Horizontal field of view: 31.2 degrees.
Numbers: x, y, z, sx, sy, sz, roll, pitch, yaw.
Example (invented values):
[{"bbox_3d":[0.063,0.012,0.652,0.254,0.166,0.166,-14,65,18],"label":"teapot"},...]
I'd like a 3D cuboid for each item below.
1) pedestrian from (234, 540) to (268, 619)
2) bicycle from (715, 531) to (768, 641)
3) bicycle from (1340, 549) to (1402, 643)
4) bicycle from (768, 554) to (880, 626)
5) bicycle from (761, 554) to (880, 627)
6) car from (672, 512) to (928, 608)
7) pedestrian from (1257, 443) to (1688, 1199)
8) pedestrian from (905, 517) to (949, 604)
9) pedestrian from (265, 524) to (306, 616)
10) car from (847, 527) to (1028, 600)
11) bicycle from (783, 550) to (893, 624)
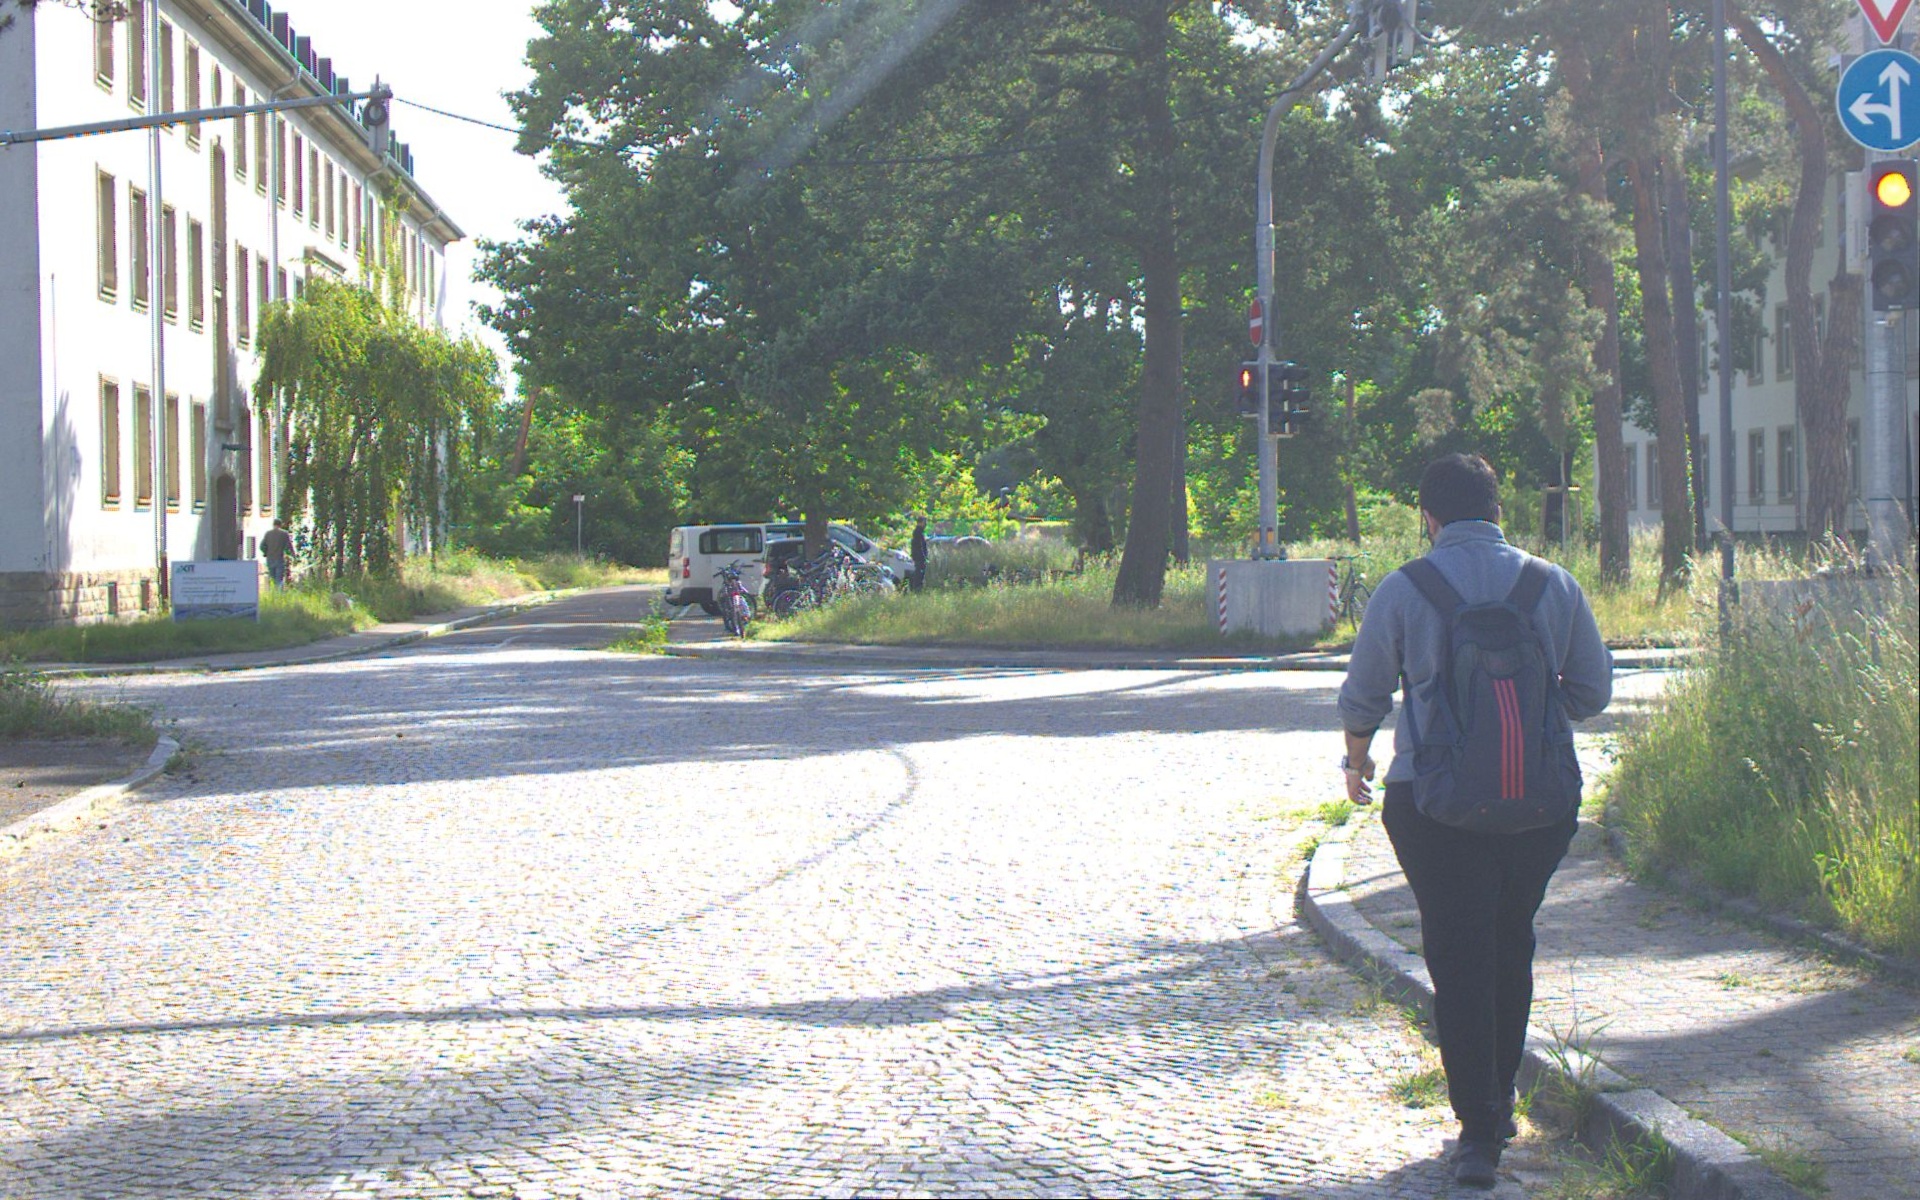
[{"bbox_3d":[-13.938,-0.407,67.588,0.606,1.554,0.545,0,1,-10],"label":"pedestrian"},{"bbox_3d":[-3.229,-0.228,50.849,0.753,1.575,2.537,0,1,-4],"label":"bicycle"},{"bbox_3d":[5.085,-0.069,42.617,0.722,1.111,2.583,-1,1,6],"label":"bicycle"},{"bbox_3d":[-2.169,-0.164,54.724,1.727,1.108,0.484,-1,1,-6],"label":"bicycle"},{"bbox_3d":[-2.205,-0.153,54.177,1.834,1.108,0.495,-1,1,-6],"label":"bicycle"},{"bbox_3d":[-3.363,-0.851,72.059,5.065,1.911,2.001,-1,1,-12],"label":"car"},{"bbox_3d":[1.219,0.516,8.344,0.753,1.719,0.828,4,1,-4],"label":"pedestrian"},{"bbox_3d":[-0.682,-0.819,70.602,0.759,1.777,0.684,-1,1,-11],"label":"pedestrian"},{"bbox_3d":[-12.952,-0.574,65.996,0.606,1.746,0.630,-1,1,-27],"label":"pedestrian"},{"bbox_3d":[-0.517,-0.813,75.999,3.743,1.574,1.742,-1,1,-10],"label":"car"},{"bbox_3d":[-1.972,-0.216,55.415,1.727,1.160,0.561,-1,1,-6],"label":"bicycle"}]
